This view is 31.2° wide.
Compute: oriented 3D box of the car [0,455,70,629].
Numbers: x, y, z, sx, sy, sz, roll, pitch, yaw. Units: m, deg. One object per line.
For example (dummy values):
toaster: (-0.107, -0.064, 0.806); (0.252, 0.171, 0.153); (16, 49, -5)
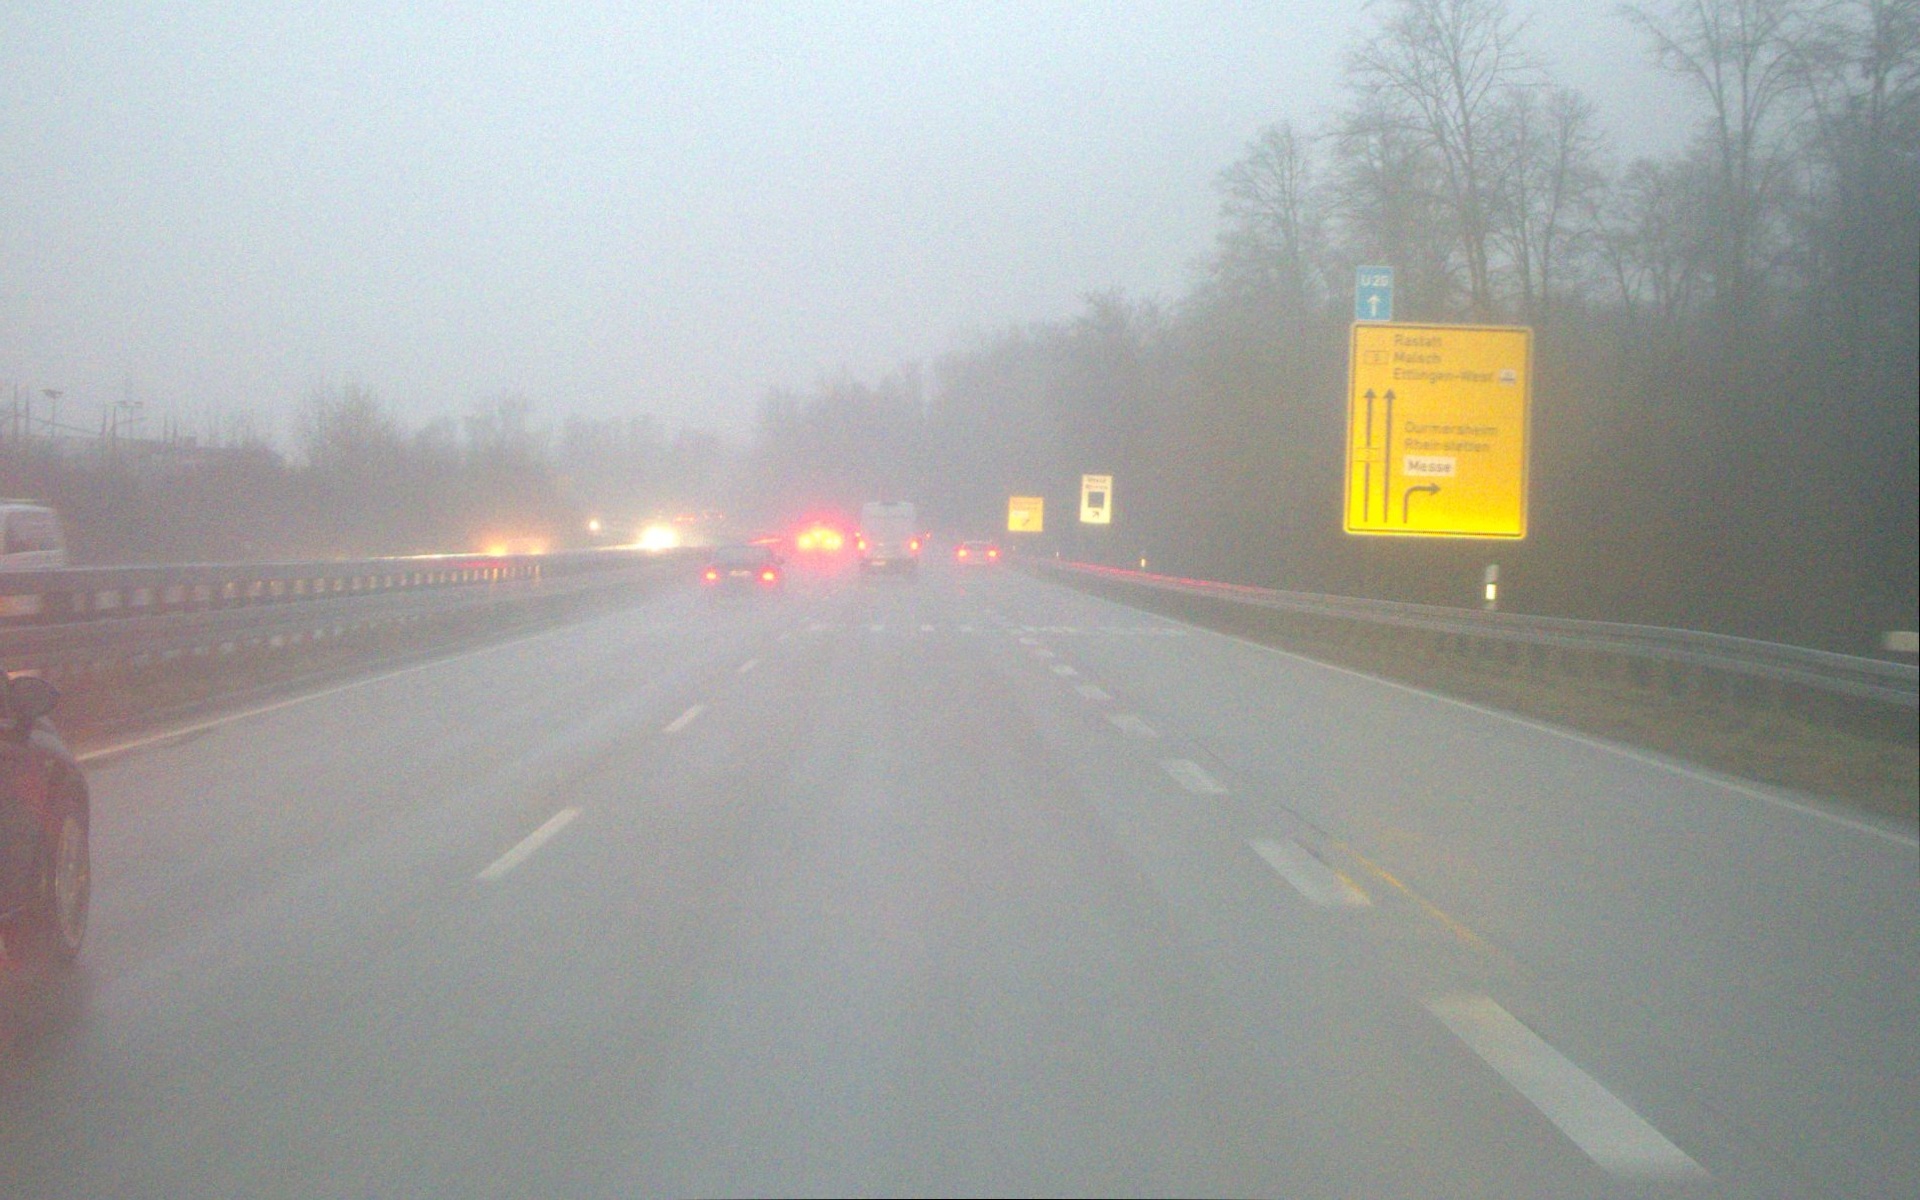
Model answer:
car: (-14.265, -0.830, 48.844); (1.928, 2.288, 4.887); (1, -2, 0)

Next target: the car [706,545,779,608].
car: (-4.784, -0.537, 75.973); (1.416, 1.312, 3.083); (2, 1, -1)

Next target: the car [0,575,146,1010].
car: (-3.916, 0.611, 11.267); (1.625, 1.387, 4.000); (2, 1, -2)
